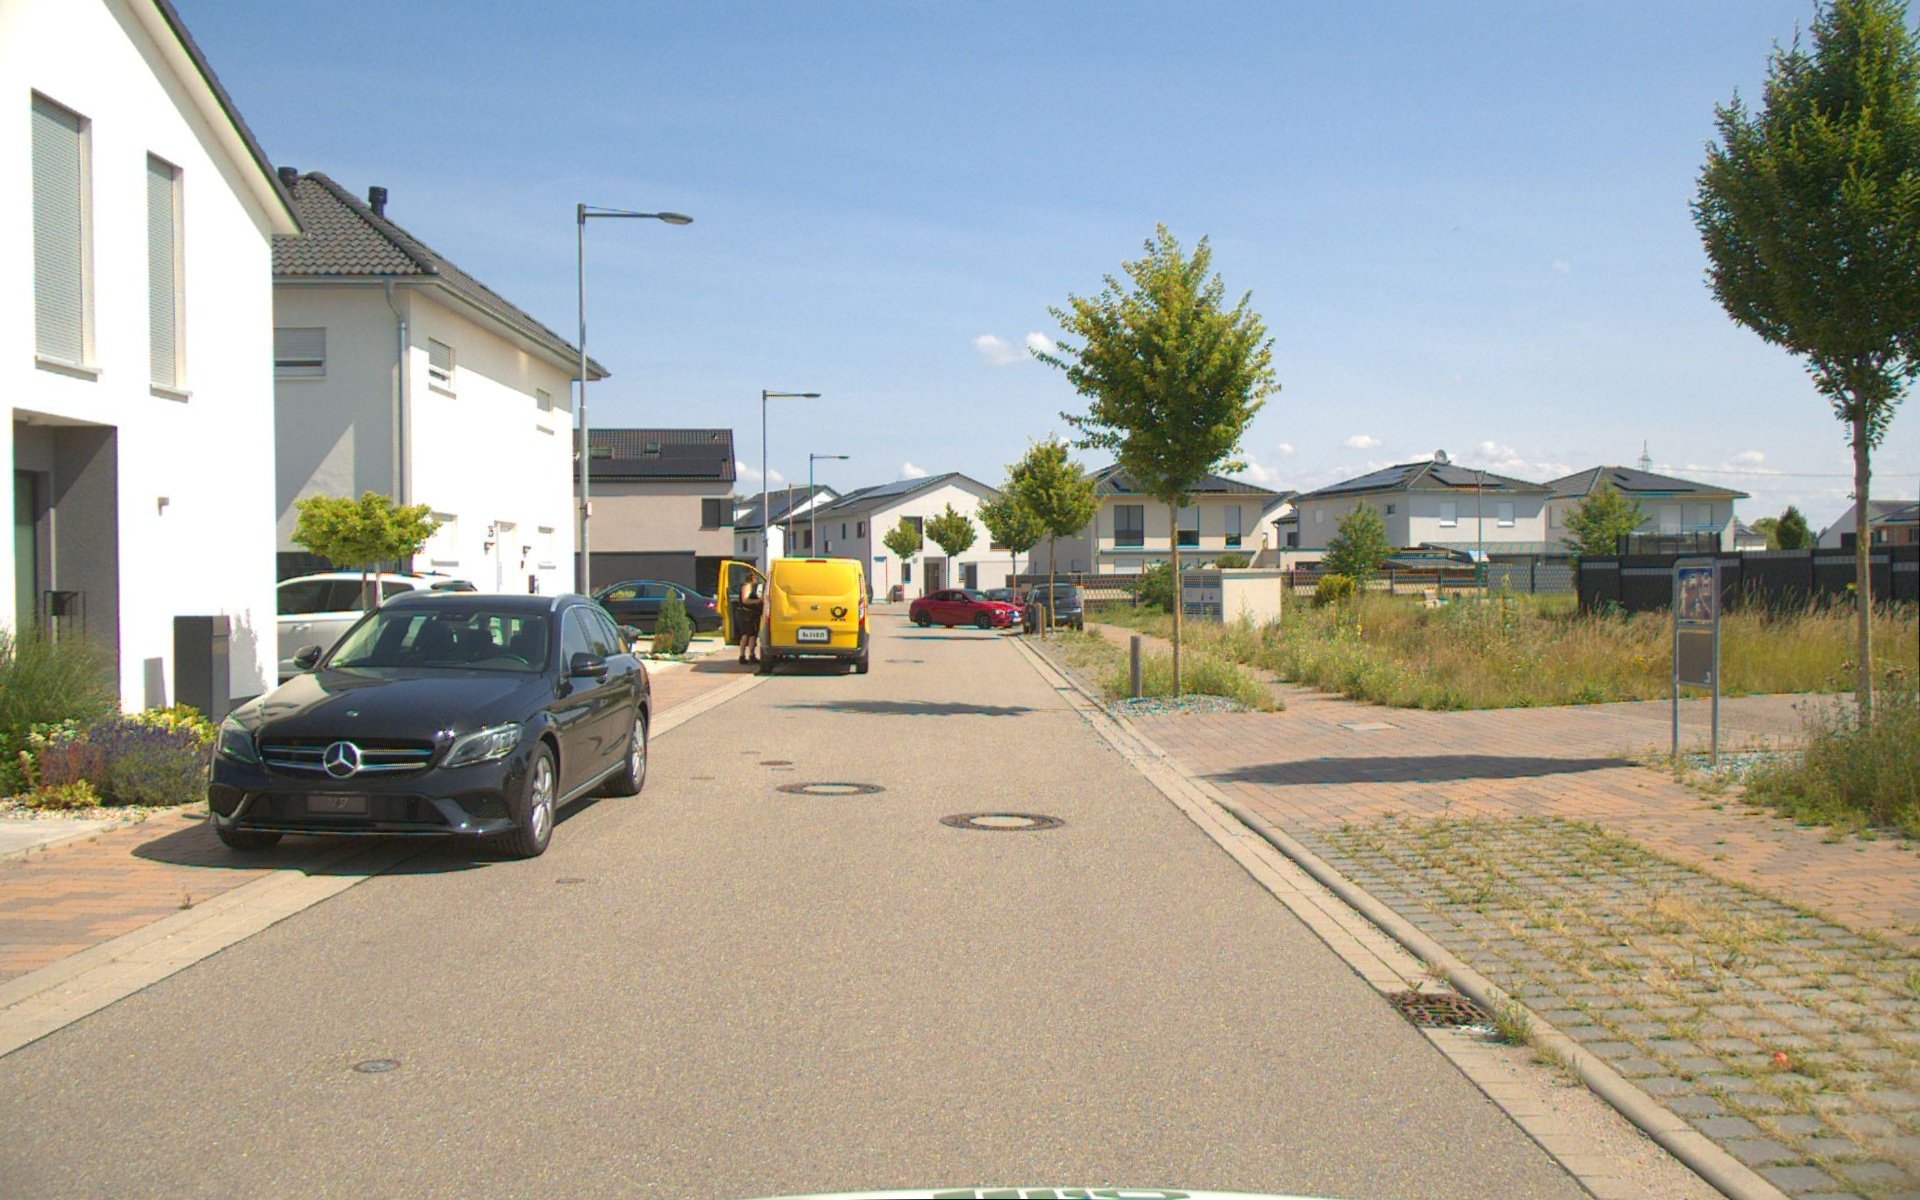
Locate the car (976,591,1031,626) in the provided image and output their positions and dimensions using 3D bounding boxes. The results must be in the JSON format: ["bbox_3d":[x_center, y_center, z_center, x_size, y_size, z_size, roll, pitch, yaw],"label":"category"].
[{"bbox_3d":[1.785,0.317,69.543,1.721,1.387,4.570,1,0,-6],"label":"car"}]

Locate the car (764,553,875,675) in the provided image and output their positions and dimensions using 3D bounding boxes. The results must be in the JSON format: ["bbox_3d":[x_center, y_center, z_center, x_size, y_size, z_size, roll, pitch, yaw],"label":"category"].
[{"bbox_3d":[-2.600,0.230,30.700,1.847,2.049,4.836,1,0,-5],"label":"car"}]

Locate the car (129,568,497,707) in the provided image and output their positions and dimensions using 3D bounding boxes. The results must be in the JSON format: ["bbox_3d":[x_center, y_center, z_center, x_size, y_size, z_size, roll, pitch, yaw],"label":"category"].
[{"bbox_3d":[-8.022,0.447,20.721,3.871,1.647,1.795,0,0,4],"label":"car"}]

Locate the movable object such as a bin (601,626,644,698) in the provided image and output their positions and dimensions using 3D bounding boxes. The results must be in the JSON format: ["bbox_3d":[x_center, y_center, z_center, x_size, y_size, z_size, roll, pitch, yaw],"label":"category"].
[{"bbox_3d":[-4.553,0.826,22.330,0.476,0.942,0.530,0,0,-3],"label":"movable object such as a bin"}]

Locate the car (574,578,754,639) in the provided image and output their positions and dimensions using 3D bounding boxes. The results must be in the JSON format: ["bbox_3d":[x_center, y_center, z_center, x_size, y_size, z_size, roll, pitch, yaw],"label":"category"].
[{"bbox_3d":[-7.386,0.209,41.148,4.318,1.477,1.743,0,0,-14],"label":"car"}]

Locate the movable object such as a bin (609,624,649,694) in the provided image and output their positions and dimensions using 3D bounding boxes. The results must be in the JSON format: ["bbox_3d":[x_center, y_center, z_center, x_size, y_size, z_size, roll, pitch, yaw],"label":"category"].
[{"bbox_3d":[-4.575,0.805,22.877,0.476,0.942,0.530,0,0,-3],"label":"movable object such as a bin"}]

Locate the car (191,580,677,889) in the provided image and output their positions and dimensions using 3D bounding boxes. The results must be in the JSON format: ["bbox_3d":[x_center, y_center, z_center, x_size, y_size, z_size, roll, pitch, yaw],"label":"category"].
[{"bbox_3d":[-3.047,0.666,10.609,1.656,1.498,4.444,2,0,0],"label":"car"}]

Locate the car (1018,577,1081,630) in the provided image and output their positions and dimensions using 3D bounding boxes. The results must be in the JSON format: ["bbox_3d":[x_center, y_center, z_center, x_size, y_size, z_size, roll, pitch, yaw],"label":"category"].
[{"bbox_3d":[2.690,0.086,50.384,1.566,1.500,3.673,-2,1,-2],"label":"car"}]

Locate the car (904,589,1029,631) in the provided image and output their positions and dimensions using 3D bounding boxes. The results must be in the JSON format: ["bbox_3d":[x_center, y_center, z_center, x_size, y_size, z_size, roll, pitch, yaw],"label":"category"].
[{"bbox_3d":[0.214,0.339,60.055,4.431,1.463,1.761,1,1,38],"label":"car"}]

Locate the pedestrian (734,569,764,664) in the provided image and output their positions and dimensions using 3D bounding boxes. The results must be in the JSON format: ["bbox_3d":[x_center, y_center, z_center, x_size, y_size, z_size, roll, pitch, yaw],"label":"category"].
[{"bbox_3d":[-3.978,0.298,31.163,0.521,1.768,0.569,1,0,-7],"label":"pedestrian"}]
